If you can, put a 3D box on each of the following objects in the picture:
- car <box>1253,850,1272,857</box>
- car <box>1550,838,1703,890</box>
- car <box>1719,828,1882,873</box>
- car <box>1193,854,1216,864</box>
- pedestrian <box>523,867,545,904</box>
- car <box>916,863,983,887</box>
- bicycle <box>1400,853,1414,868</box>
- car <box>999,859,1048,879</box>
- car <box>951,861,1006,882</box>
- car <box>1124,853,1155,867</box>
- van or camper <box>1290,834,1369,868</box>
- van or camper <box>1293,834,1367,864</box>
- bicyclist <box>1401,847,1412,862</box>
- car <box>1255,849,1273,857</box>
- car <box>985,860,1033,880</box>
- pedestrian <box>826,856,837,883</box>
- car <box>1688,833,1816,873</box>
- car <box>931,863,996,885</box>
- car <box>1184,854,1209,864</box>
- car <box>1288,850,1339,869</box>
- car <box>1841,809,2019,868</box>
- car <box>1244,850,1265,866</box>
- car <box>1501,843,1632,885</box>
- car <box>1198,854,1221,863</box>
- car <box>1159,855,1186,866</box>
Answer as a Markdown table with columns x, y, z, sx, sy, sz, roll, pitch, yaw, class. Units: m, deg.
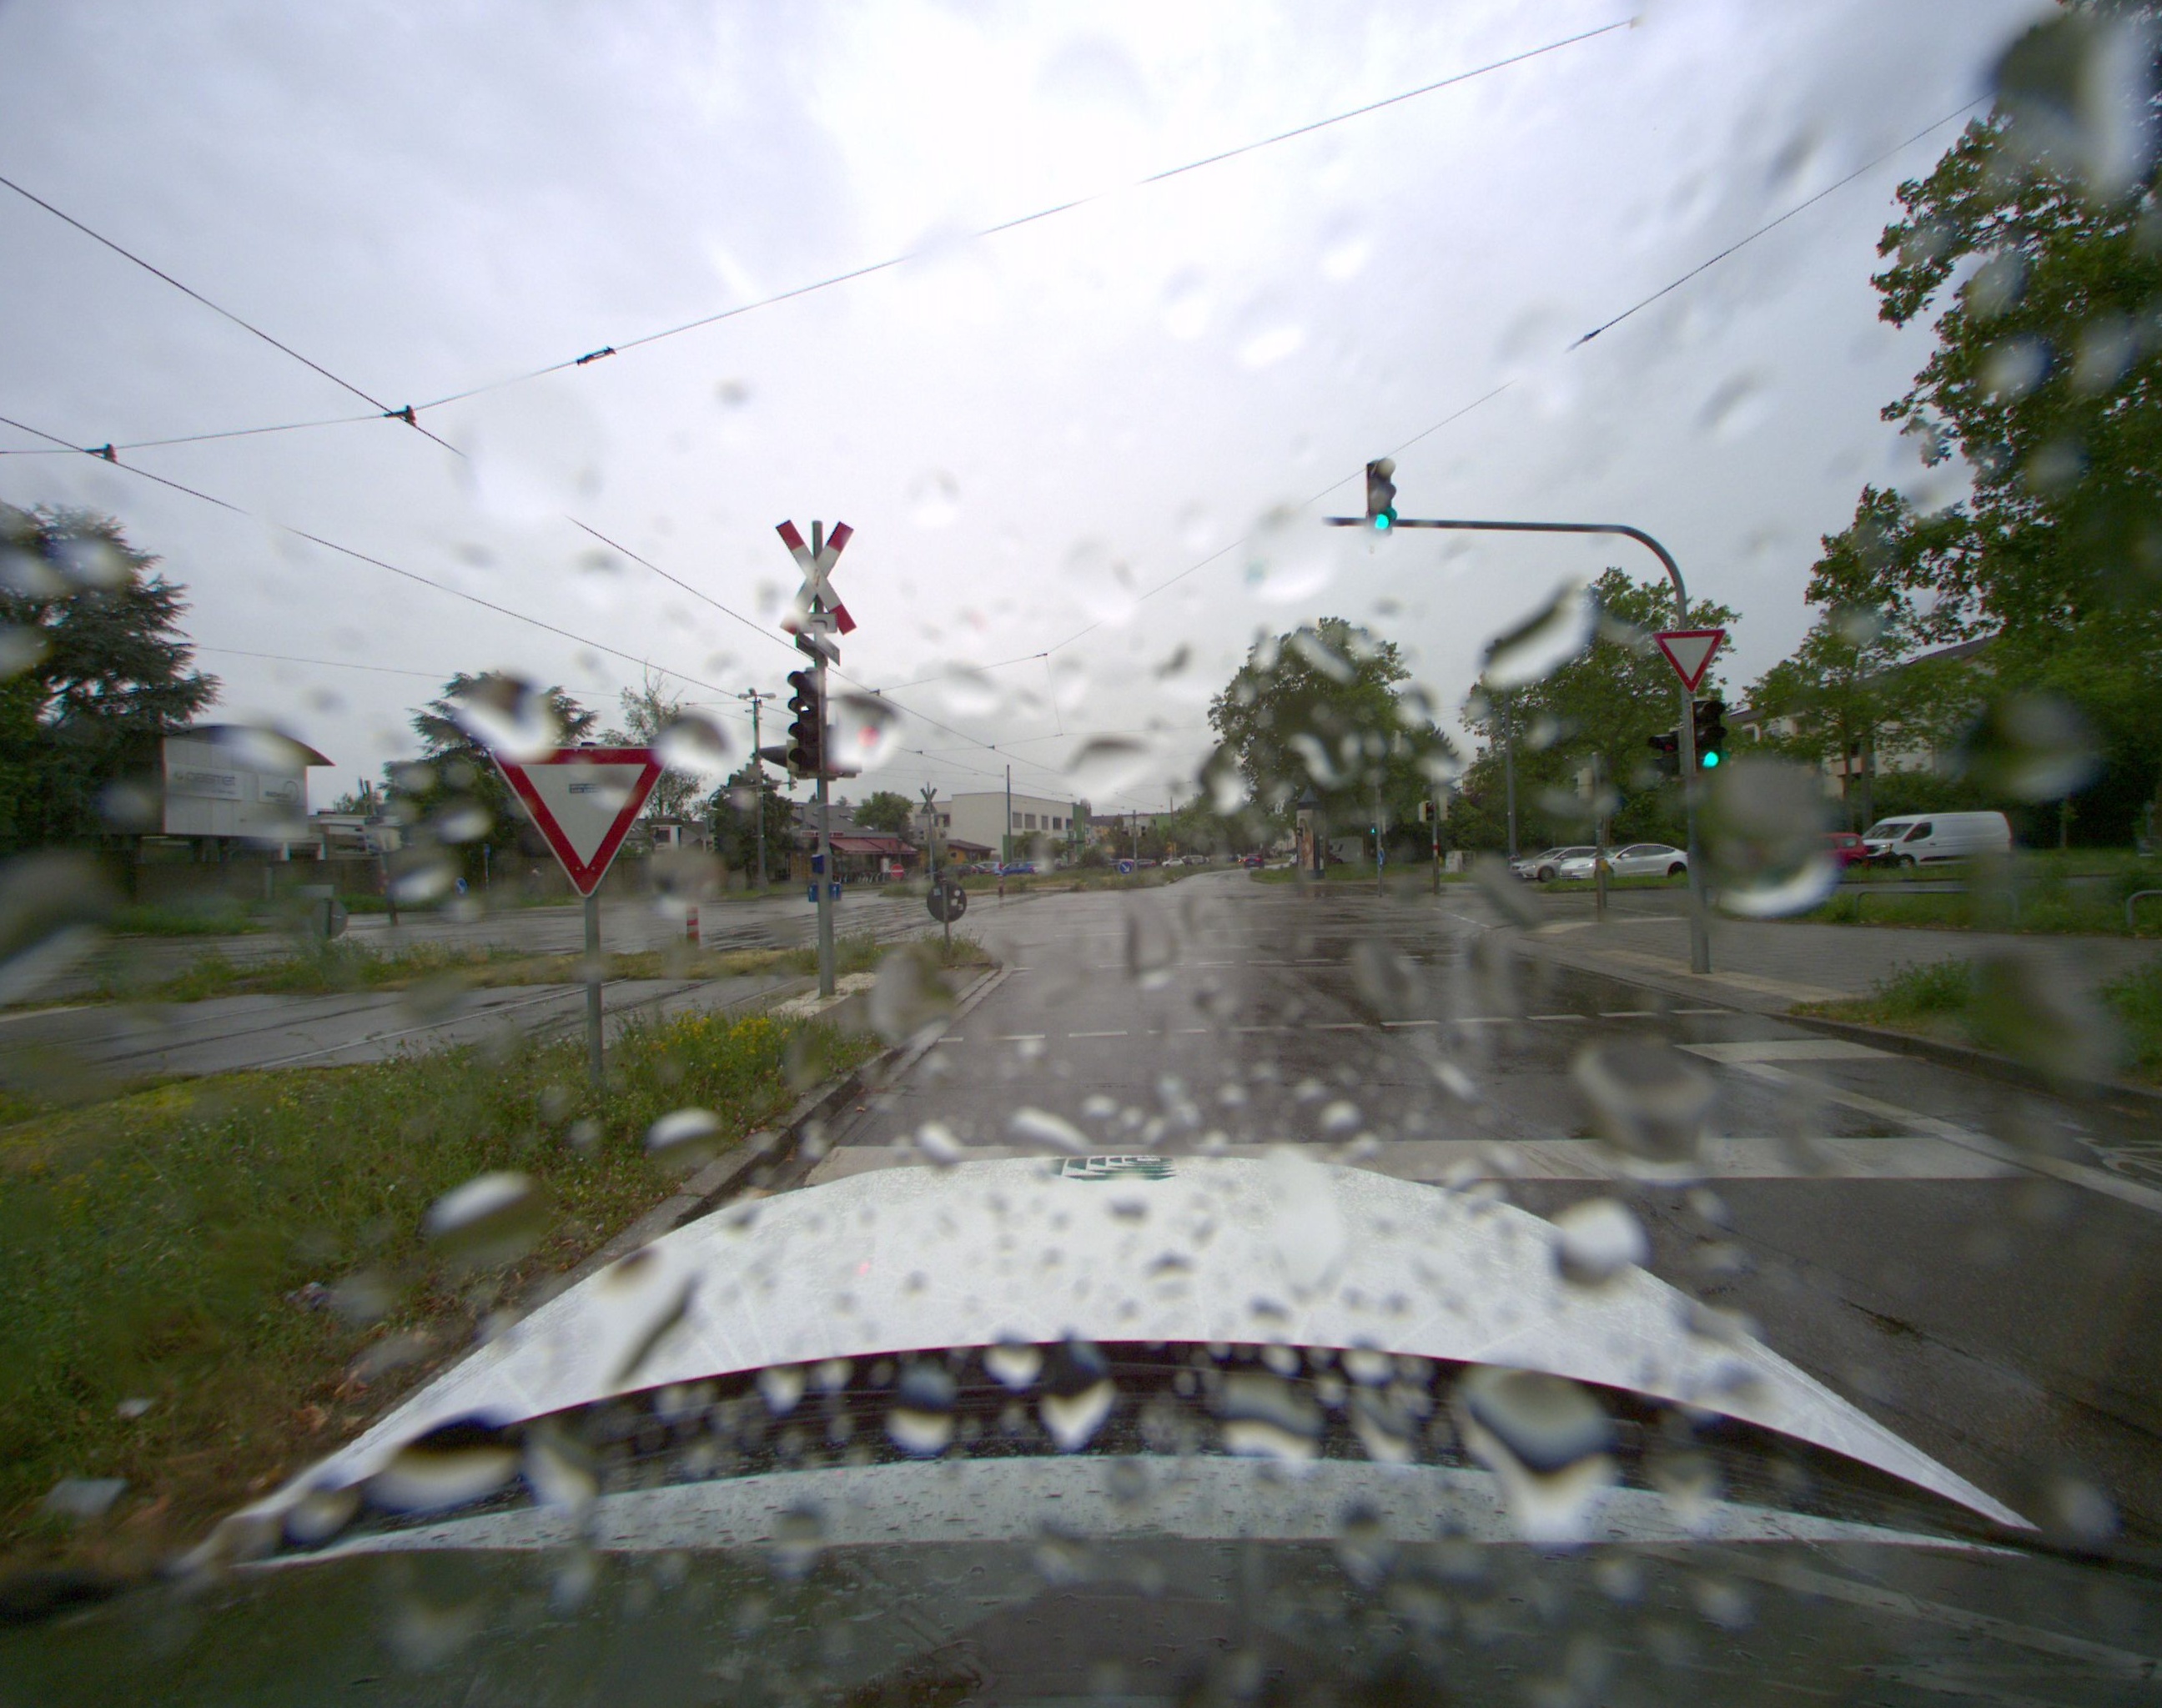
| x | y | z | sx | sy | sz | roll | pitch | yaw | class |
| --- | --- | --- | --- | --- | --- | --- | --- | --- | --- |
| 44.061 | -0.135 | 197.901 | 3.977 | 1.832 | 1.998 | 0 | -1 | -3 | car |
| 20.480 | 0.365 | 30.674 | 4.585 | 1.828 | 1.931 | 0 | -1 | -5 | car |
| 26.989 | -0.113 | 30.655 | 4.589 | 1.607 | 1.790 | 0 | -1 | -1 | car |
| 23.246 | 0.869 | 153.514 | 3.986 | 1.832 | 1.994 | 0 | -1 | -10 | car |
| -27.823 | 1.587 | 41.430 | 0.890 | 1.797 | 0.719 | 0 | 0 | -33 | pedestrian |
| -9.553 | 1.515 | 59.367 | 4.459 | 1.418 | 1.860 | -3 | -1 | 3 | car |
| 32.069 | 0.610 | 80.152 | 0.855 | 1.425 | 2.713 | -1 | -1 | 13 | bicycle |
| -5.162 | 1.358 | 73.211 | 4.112 | 1.641 | 1.922 | -1 | -1 | -12 | car |
| -8.177 | 1.391 | 65.074 | 3.966 | 1.582 | 1.862 | -2 | -1 | 6 | car |
| 7.915 | 0.847 | 110.162 | 3.980 | 1.887 | 1.997 | 0 | -1 | -5 | car |
| 24.485 | -0.230 | 80.164 | 7.261 | 3.178 | 3.278 | -1 | -1 | 20 | van or camper |
| 27.240 | -0.472 | 89.229 | 7.359 | 3.178 | 3.281 | -1 | -1 | 24 | van or camper |
| 32.130 | 0.027 | 80.465 | 0.855 | 1.425 | 0.960 | -1 | -1 | 12 | bicyclist |
| 45.508 | -0.275 | 202.605 | 3.977 | 1.832 | 1.998 | 0 | -1 | -3 | car |
| -6.216 | 1.369 | 70.010 | 3.986 | 1.582 | 1.924 | -2 | -1 | -9 | car |
| -18.771 | 1.127 | 61.250 | 0.726 | 2.014 | 0.789 | 0 | -1 | -21 | pedestrian |
| 28.201 | -0.041 | 34.303 | 4.048 | 1.607 | 1.788 | 0 | -1 | -5 | car |
| -8.896 | 1.523 | 61.760 | 4.478 | 1.418 | 1.860 | -3 | -1 | 3 | car |
| 20.425 | 0.855 | 144.613 | 3.986 | 1.759 | 2.004 | 0 | -1 | -10 | car |
| 22.053 | 0.505 | 77.179 | 4.405 | 1.717 | 2.011 | -1 | -1 | 23 | car |
| 35.888 | -0.630 | 34.510 | 5.589 | 2.392 | 1.999 | 0 | -1 | -2 | car |
| 18.694 | 0.418 | 87.739 | 1.791 | 1.686 | 3.930 | -1 | -1 | 19 | car |
| 20.208 | 0.415 | 34.017 | 4.385 | 1.691 | 1.931 | 0 | -1 | -5 | car |
| 24.984 | 0.897 | 158.545 | 3.977 | 1.832 | 1.998 | 0 | -1 | -3 | car |
| 14.225 | 0.956 | 126.632 | 3.772 | 1.702 | 1.832 | 0 | -1 | -8 | car |
